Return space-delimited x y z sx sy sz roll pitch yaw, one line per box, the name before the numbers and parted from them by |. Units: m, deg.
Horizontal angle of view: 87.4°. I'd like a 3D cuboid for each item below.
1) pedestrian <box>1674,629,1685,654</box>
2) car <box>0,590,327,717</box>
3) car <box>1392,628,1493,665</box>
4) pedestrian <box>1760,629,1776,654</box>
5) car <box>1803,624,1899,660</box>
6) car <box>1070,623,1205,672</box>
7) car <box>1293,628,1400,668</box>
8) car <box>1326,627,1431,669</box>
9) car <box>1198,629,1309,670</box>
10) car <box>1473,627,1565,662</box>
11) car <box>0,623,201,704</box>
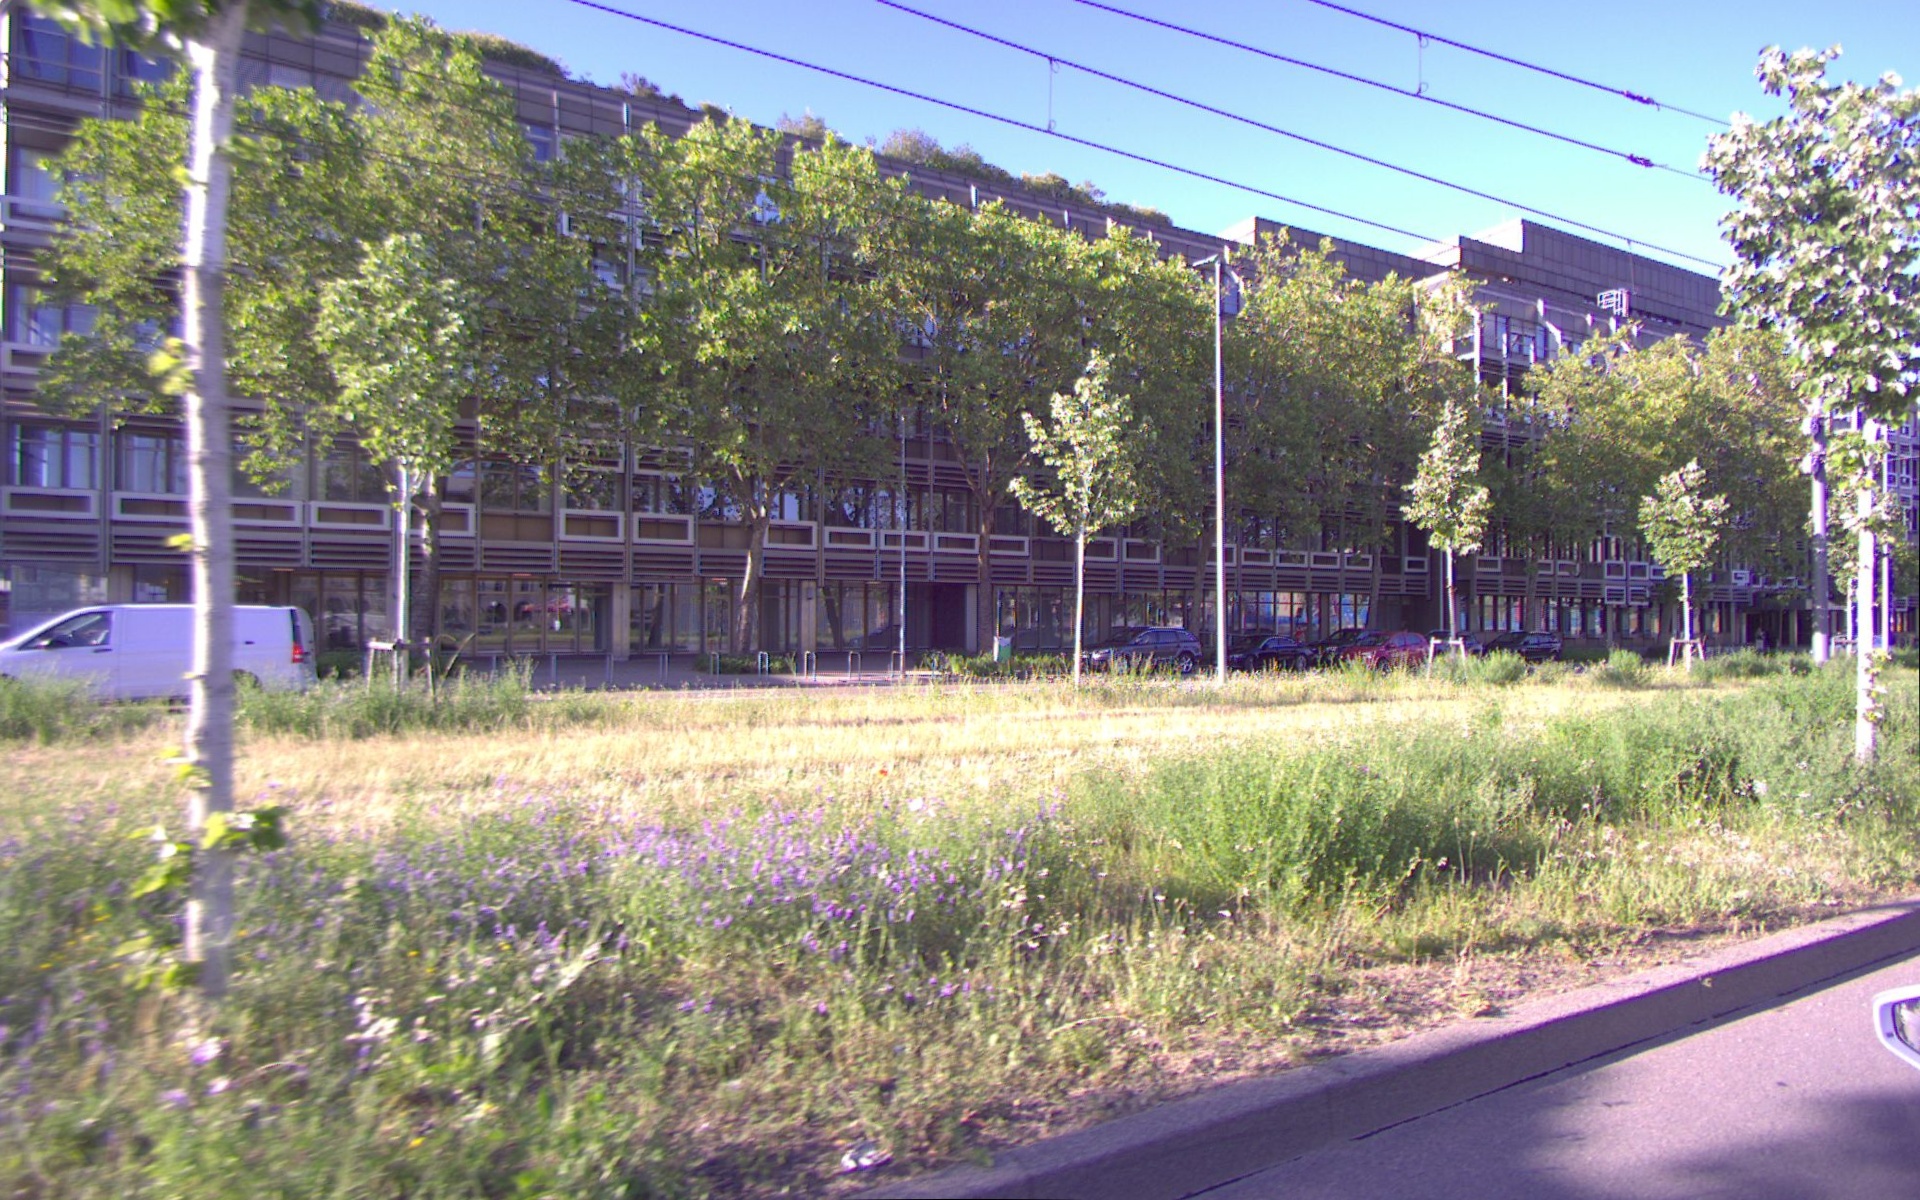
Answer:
pedestrian | 45.144 2.615 62.983 0.441 1.582 0.407 1 -1 -27
car | -14.706 0.945 17.822 5.636 2.040 2.251 1 -3 -27
car | 22.123 2.143 46.060 4.304 1.653 1.905 1 -3 -26
pedestrian | 50.881 2.610 63.247 0.643 1.552 0.659 1 -2 -37
car | 41.598 1.945 46.875 4.633 1.615 1.833 1 -2 -27
car | 6.673 1.750 37.620 4.812 1.702 1.984 2 0 -31
car | 16.455 2.031 42.722 4.567 1.578 1.736 1 0 -29
car | 15.333 1.768 36.776 3.532 1.472 1.704 1 -4 -29
car | 11.734 1.951 40.147 3.945 1.541 1.988 1 -1 -25
car | 26.941 2.158 48.379 4.223 1.617 1.854 2 -2 -27
car | -17.541 1.246 19.780 3.830 1.505 1.834 1 -4 -27
